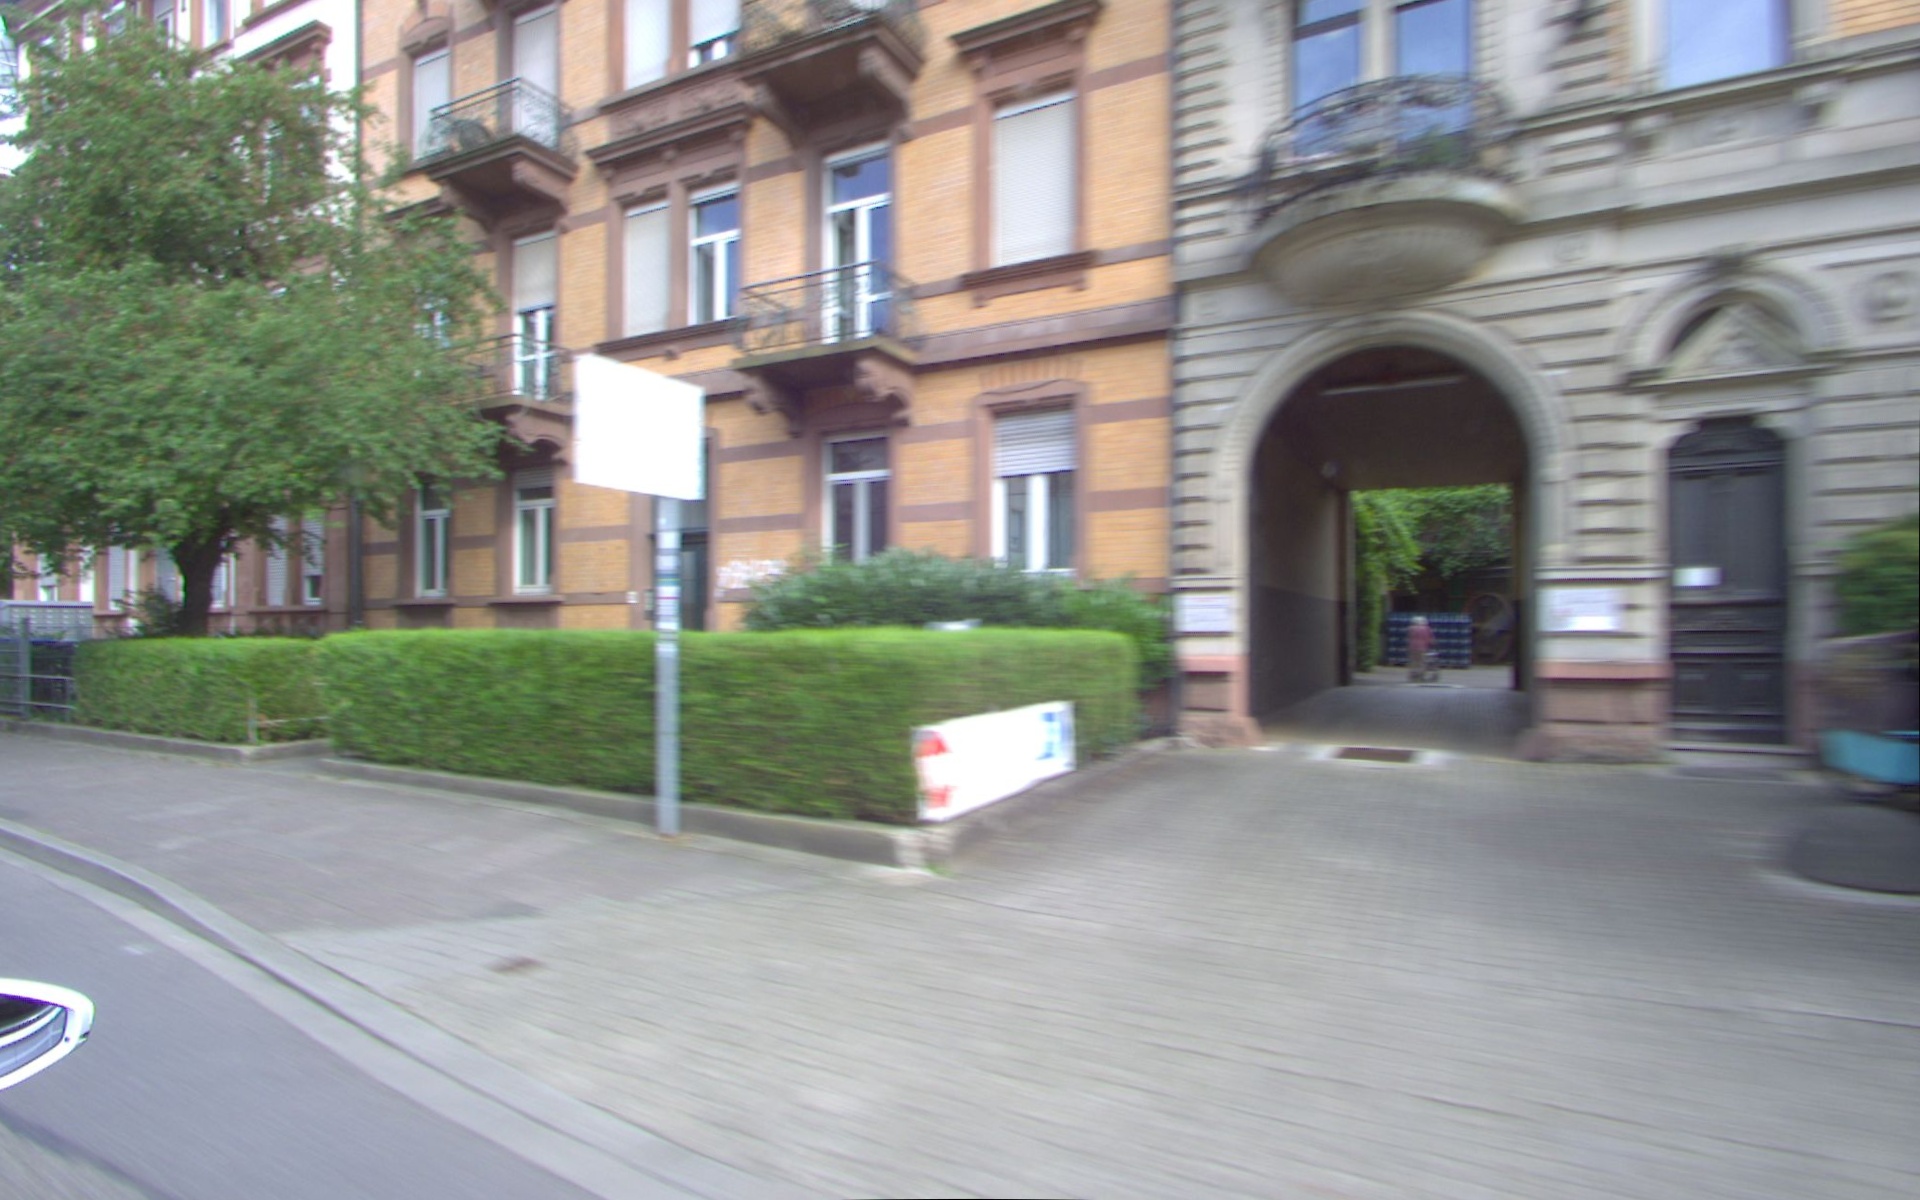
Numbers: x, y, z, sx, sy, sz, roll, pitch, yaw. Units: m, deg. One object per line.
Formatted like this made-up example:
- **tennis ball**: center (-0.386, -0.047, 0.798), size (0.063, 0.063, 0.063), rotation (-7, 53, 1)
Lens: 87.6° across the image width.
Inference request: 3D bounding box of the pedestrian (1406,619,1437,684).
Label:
- **pedestrian**: center (10.768, 1.188, 23.369), size (0.558, 1.507, 0.591), rotation (0, 0, 37)

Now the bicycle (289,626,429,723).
- **bicycle**: center (-7.850, 0.940, 13.146), size (0.509, 1.196, 1.545), rotation (0, -1, 26)

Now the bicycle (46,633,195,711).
- **bicycle**: center (-11.807, 0.988, 14.137), size (0.502, 1.022, 1.545), rotation (0, -1, 26)

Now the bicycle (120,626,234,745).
- **bicycle**: center (-9.085, 0.954, 11.604), size (1.527, 1.298, 0.515), rotation (0, -1, 30)

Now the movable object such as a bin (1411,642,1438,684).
- **movable object such as a bin**: center (11.034, 1.478, 23.766), size (0.491, 0.966, 0.523), rotation (0, -1, 37)

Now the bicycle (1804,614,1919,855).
- **bicycle**: center (5.864, 0.751, 5.859), size (0.758, 1.329, 2.624), rotation (0, -1, 25)
